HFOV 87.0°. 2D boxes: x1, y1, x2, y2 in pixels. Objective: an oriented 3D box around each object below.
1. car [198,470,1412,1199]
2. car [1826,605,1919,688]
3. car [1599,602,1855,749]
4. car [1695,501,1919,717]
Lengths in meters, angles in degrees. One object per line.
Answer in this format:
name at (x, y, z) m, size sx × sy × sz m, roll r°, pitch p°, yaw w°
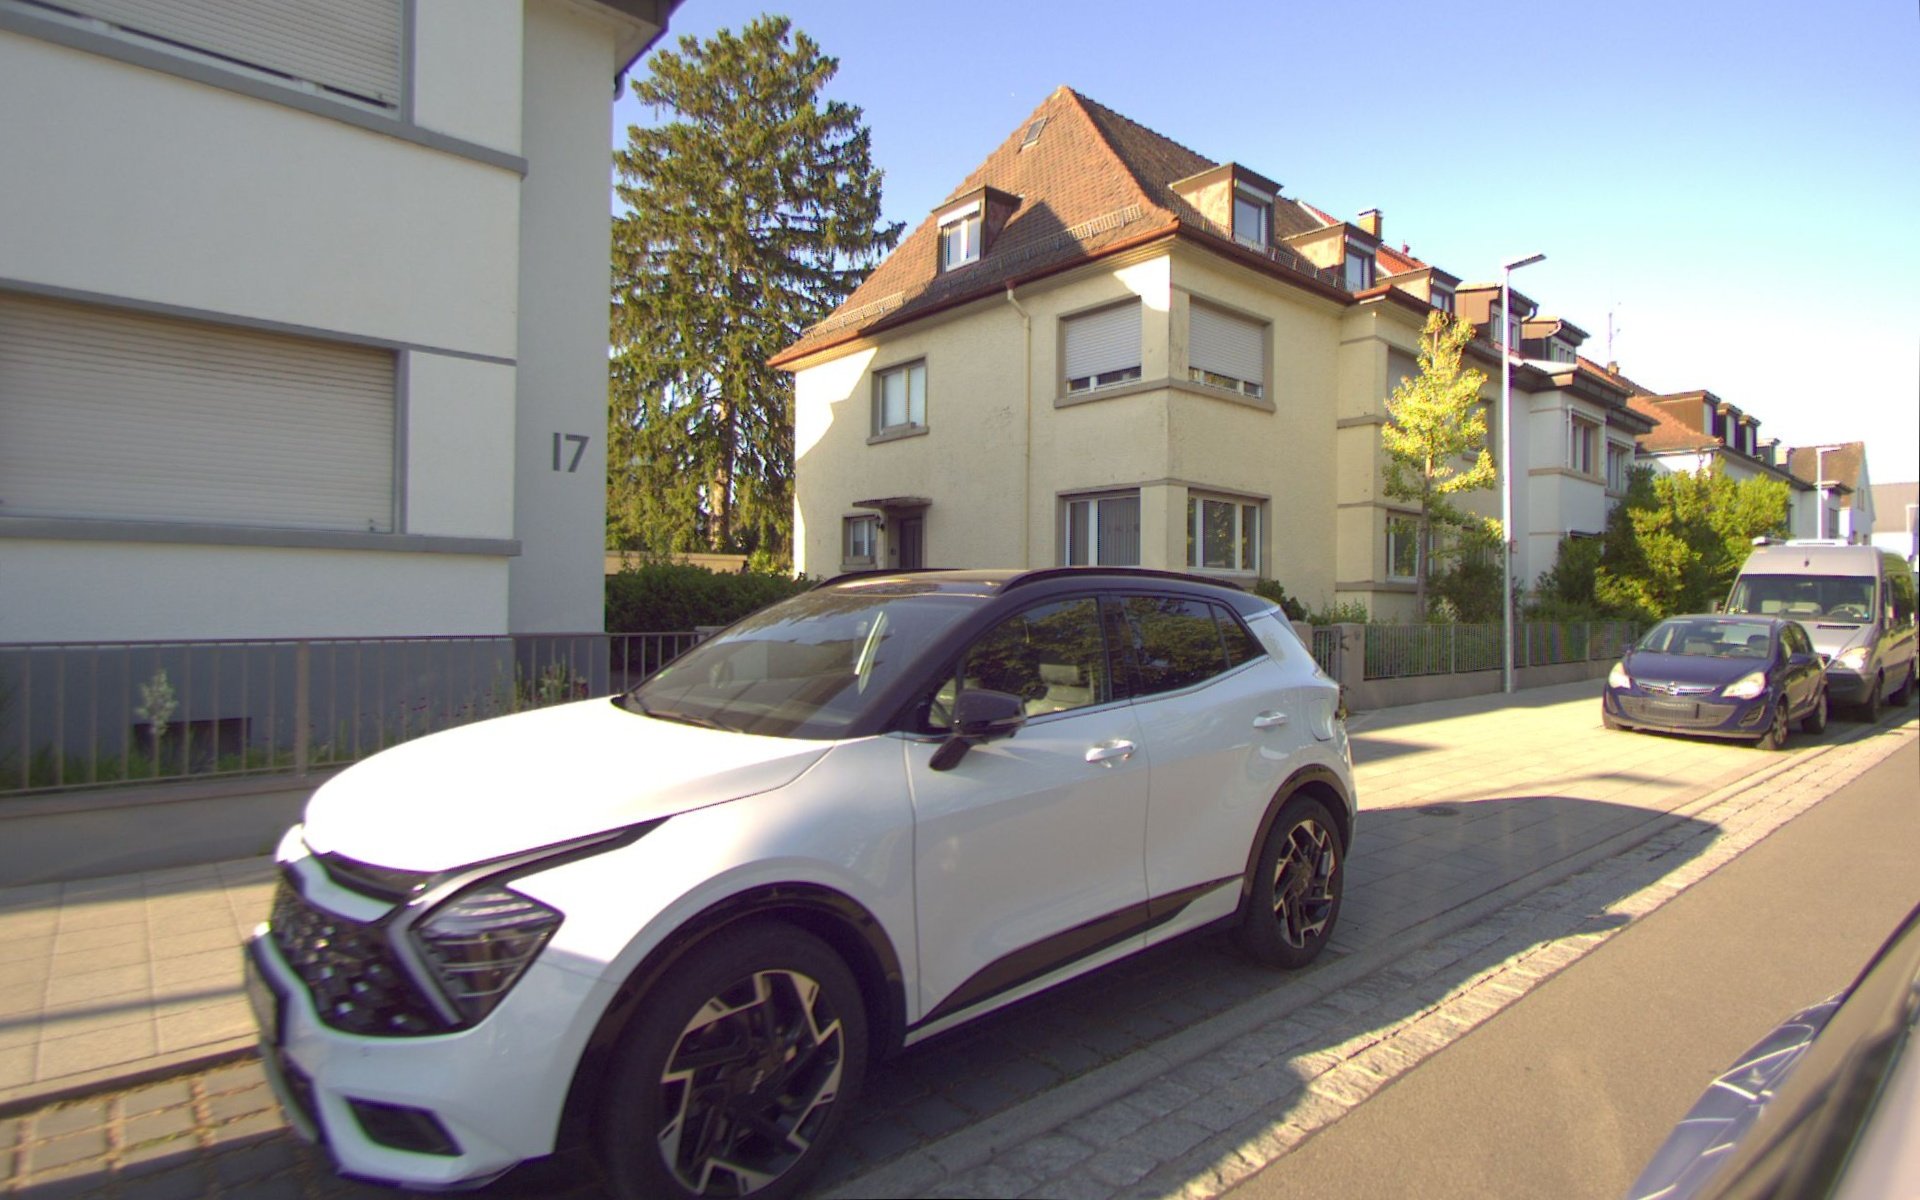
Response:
car at (-0.107, 0.598, 3.924) m, size 4.403 × 1.666 × 1.780 m, roll 1°, pitch 1°, yaw -42°
car at (18.610, 0.878, 20.211) m, size 3.297 × 1.518 × 1.467 m, roll 1°, pitch 0°, yaw -40°
car at (9.484, 0.794, 12.407) m, size 3.933 × 1.457 × 1.629 m, roll 1°, pitch 2°, yaw -40°
car at (13.986, 0.101, 16.309) m, size 5.882 × 2.889 × 2.133 m, roll 0°, pitch 1°, yaw -41°
